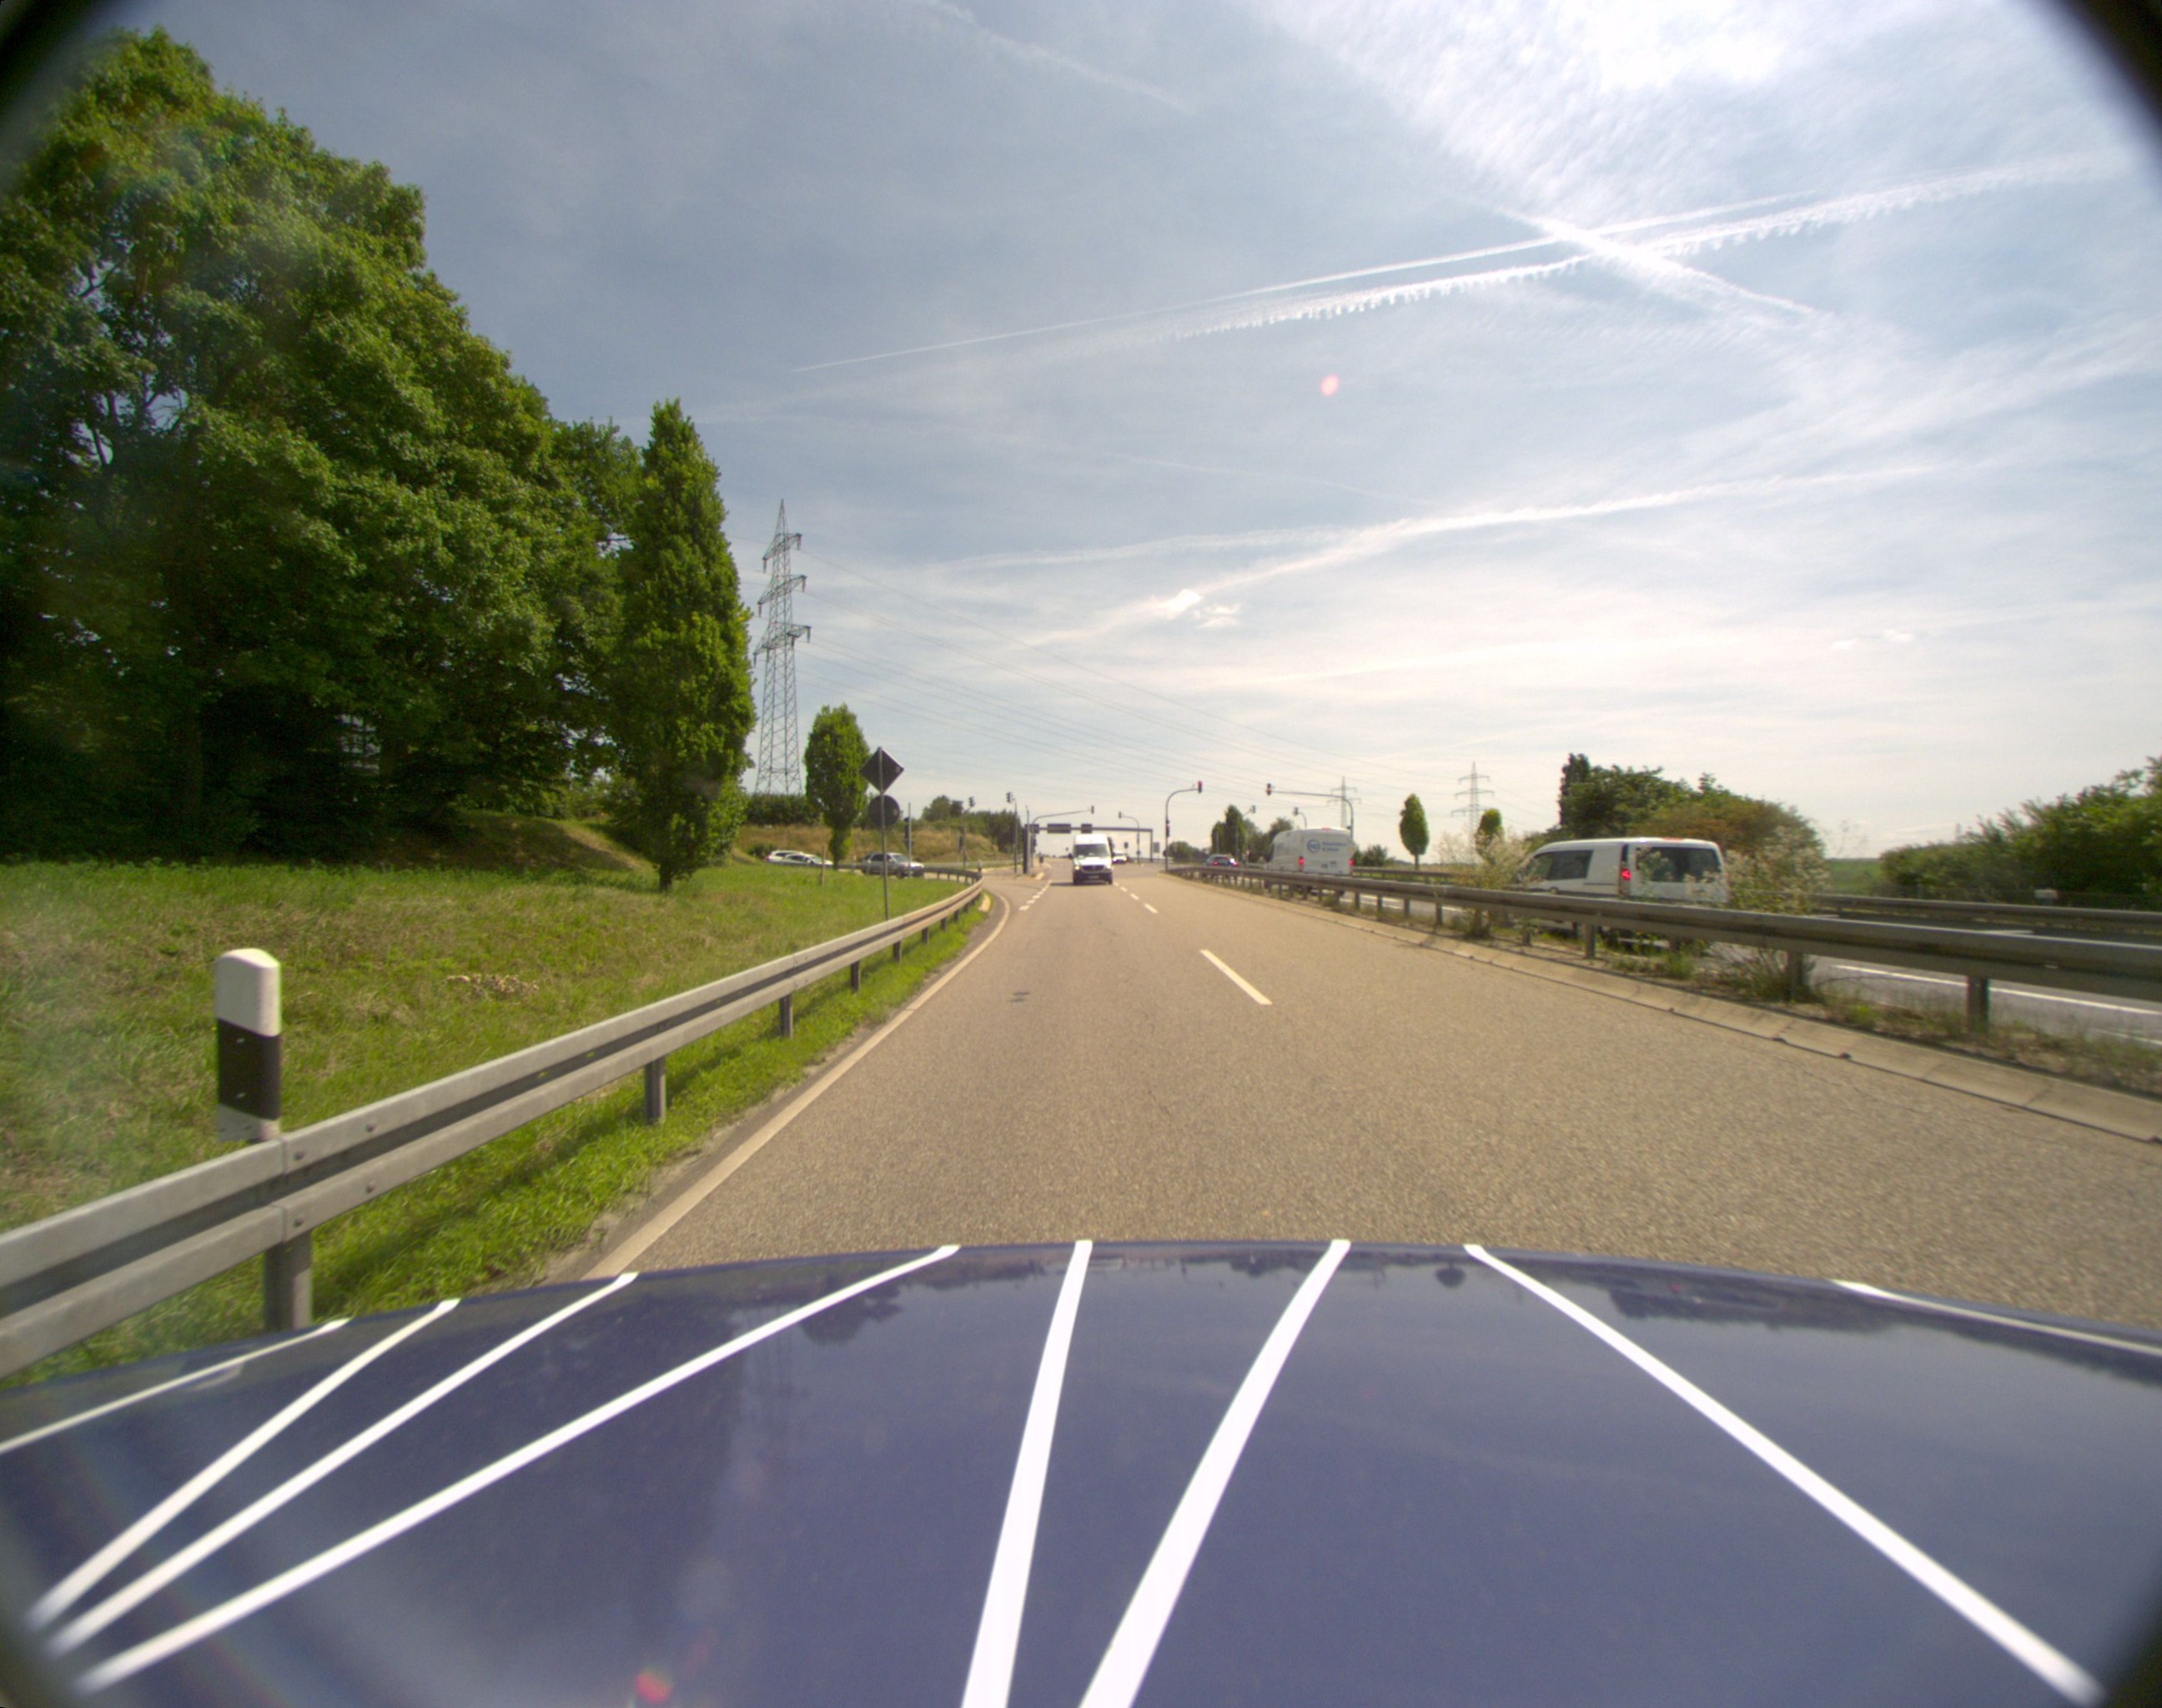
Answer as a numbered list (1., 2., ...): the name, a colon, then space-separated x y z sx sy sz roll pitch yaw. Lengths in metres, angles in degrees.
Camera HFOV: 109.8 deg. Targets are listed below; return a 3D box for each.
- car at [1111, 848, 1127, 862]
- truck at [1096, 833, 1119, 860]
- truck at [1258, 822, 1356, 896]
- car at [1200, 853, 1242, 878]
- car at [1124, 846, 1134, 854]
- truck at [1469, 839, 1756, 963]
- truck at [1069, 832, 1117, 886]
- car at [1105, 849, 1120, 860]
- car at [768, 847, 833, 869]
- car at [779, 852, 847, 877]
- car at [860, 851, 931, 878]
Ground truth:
1. car: 5.117 0.073 102.089 1.772 1.788 4.750 -1 1 -2
2. truck: 4.090 -1.164 118.057 2.791 3.990 5.968 -1 1 -4
3. truck: 8.845 0.176 30.394 2.045 2.605 6.019 2 0 0
4. car: 8.765 0.710 47.885 1.760 1.460 4.195 0 0 -2
5. car: 10.158 -0.843 160.262 1.649 1.614 4.326 1 1 -2
6. truck: 8.836 0.643 13.259 1.853 1.739 4.537 2 1 2
7. truck: 0.544 0.210 38.409 1.999 2.518 5.103 -1 1 -4
8. car: 4.581 0.052 110.884 1.861 1.648 4.346 -1 1 -3
9. car: -20.501 0.257 55.766 4.376 1.583 1.777 0 1 -18
10. car: -18.105 0.709 51.441 3.993 1.591 1.783 0 1 12
11. car: -11.926 0.648 48.756 4.360 1.645 1.840 0 1 30
